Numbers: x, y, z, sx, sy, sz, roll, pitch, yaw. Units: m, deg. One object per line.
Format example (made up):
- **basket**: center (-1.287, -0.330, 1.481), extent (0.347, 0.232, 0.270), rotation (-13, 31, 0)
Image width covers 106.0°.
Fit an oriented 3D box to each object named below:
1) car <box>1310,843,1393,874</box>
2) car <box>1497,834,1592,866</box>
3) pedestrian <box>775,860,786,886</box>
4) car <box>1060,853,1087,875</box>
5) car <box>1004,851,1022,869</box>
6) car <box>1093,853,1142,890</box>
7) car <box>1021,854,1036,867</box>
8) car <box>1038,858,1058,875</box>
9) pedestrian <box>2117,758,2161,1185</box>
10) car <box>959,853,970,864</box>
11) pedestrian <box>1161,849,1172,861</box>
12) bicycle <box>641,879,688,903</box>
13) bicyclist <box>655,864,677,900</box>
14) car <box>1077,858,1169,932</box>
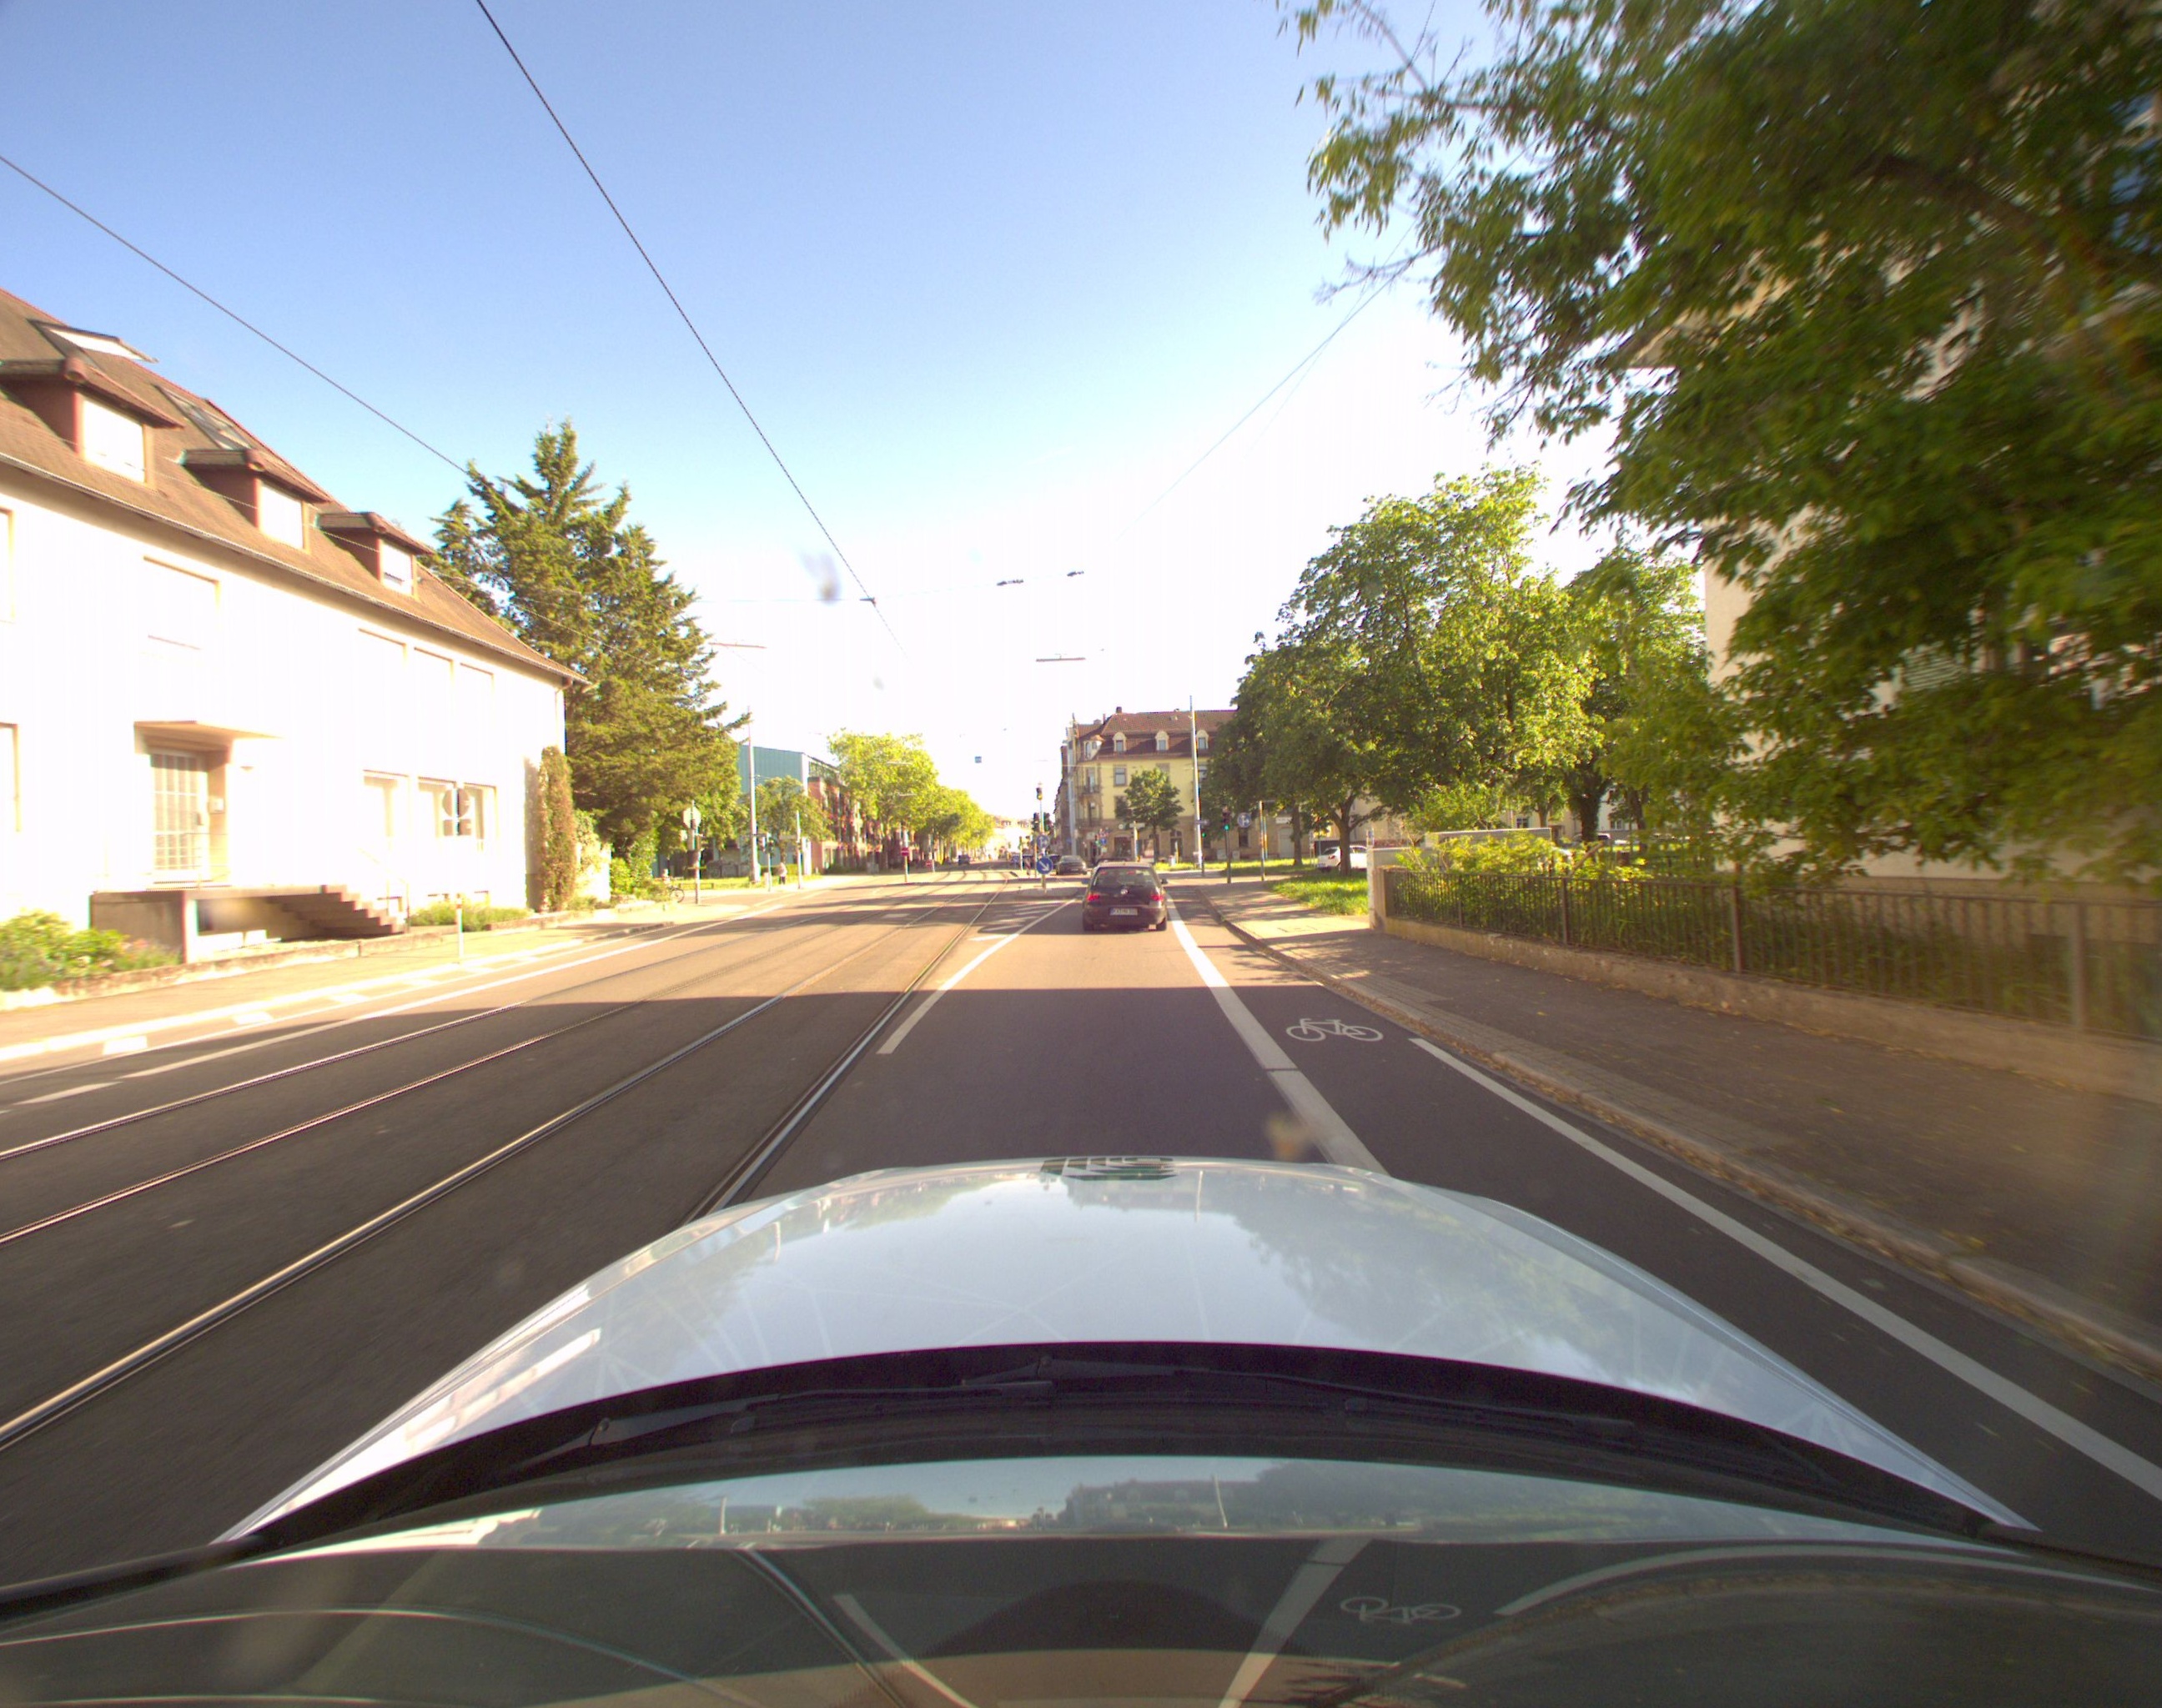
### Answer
- **car**: center (14.092, 0.219, 42.417), extent (3.809, 1.441, 1.734), rotation (-2, 0, -19)
- **car**: center (23.450, -0.192, 41.231), extent (3.991, 1.449, 1.783), rotation (-2, 0, -13)
- **pedestrian**: center (-19.665, 1.241, 53.291), extent (0.611, 1.689, 0.728), rotation (1, 0, -22)
- **car**: center (-0.543, 0.695, 57.768), extent (1.568, 1.311, 3.640), rotation (-3, 2, -6)
- **car**: center (-7.305, 0.640, 87.057), extent (1.784, 1.860, 3.993), rotation (-2, 0, -5)
- **car**: center (1.465, 0.700, 33.718), extent (1.631, 1.372, 3.753), rotation (-3, 0, -3)
- **car**: center (-6.442, 0.741, 99.041), extent (1.678, 1.453, 3.373), rotation (-2, 0, -5)
- **car**: center (-3.053, 1.144, 75.384), extent (1.568, 1.311, 3.493), rotation (-3, 2, -6)
- **pedestrian**: center (4.626, 0.448, 2.889), extent (0.716, 1.688, 0.869), rotation (-3, 0, -5)
- **car**: center (-20.981, 0.863, 146.630), extent (1.970, 1.815, 4.285), rotation (-2, 0, -8)
- **pedestrian**: center (9.077, 0.076, 86.136), extent (0.978, 1.187, 0.742), rotation (-2, 0, -4)
- **bicycle**: center (-19.802, 1.742, 38.707), extent (1.937, 1.015, 0.538), rotation (-3, 0, 3)
- **bicyclist**: center (-19.731, 1.328, 38.706), extent (0.676, 1.685, 0.538), rotation (-3, 0, 4)
- **car**: center (1.020, 0.809, 17.695), extent (1.707, 1.402, 4.013), rotation (-1, 0, 7)
